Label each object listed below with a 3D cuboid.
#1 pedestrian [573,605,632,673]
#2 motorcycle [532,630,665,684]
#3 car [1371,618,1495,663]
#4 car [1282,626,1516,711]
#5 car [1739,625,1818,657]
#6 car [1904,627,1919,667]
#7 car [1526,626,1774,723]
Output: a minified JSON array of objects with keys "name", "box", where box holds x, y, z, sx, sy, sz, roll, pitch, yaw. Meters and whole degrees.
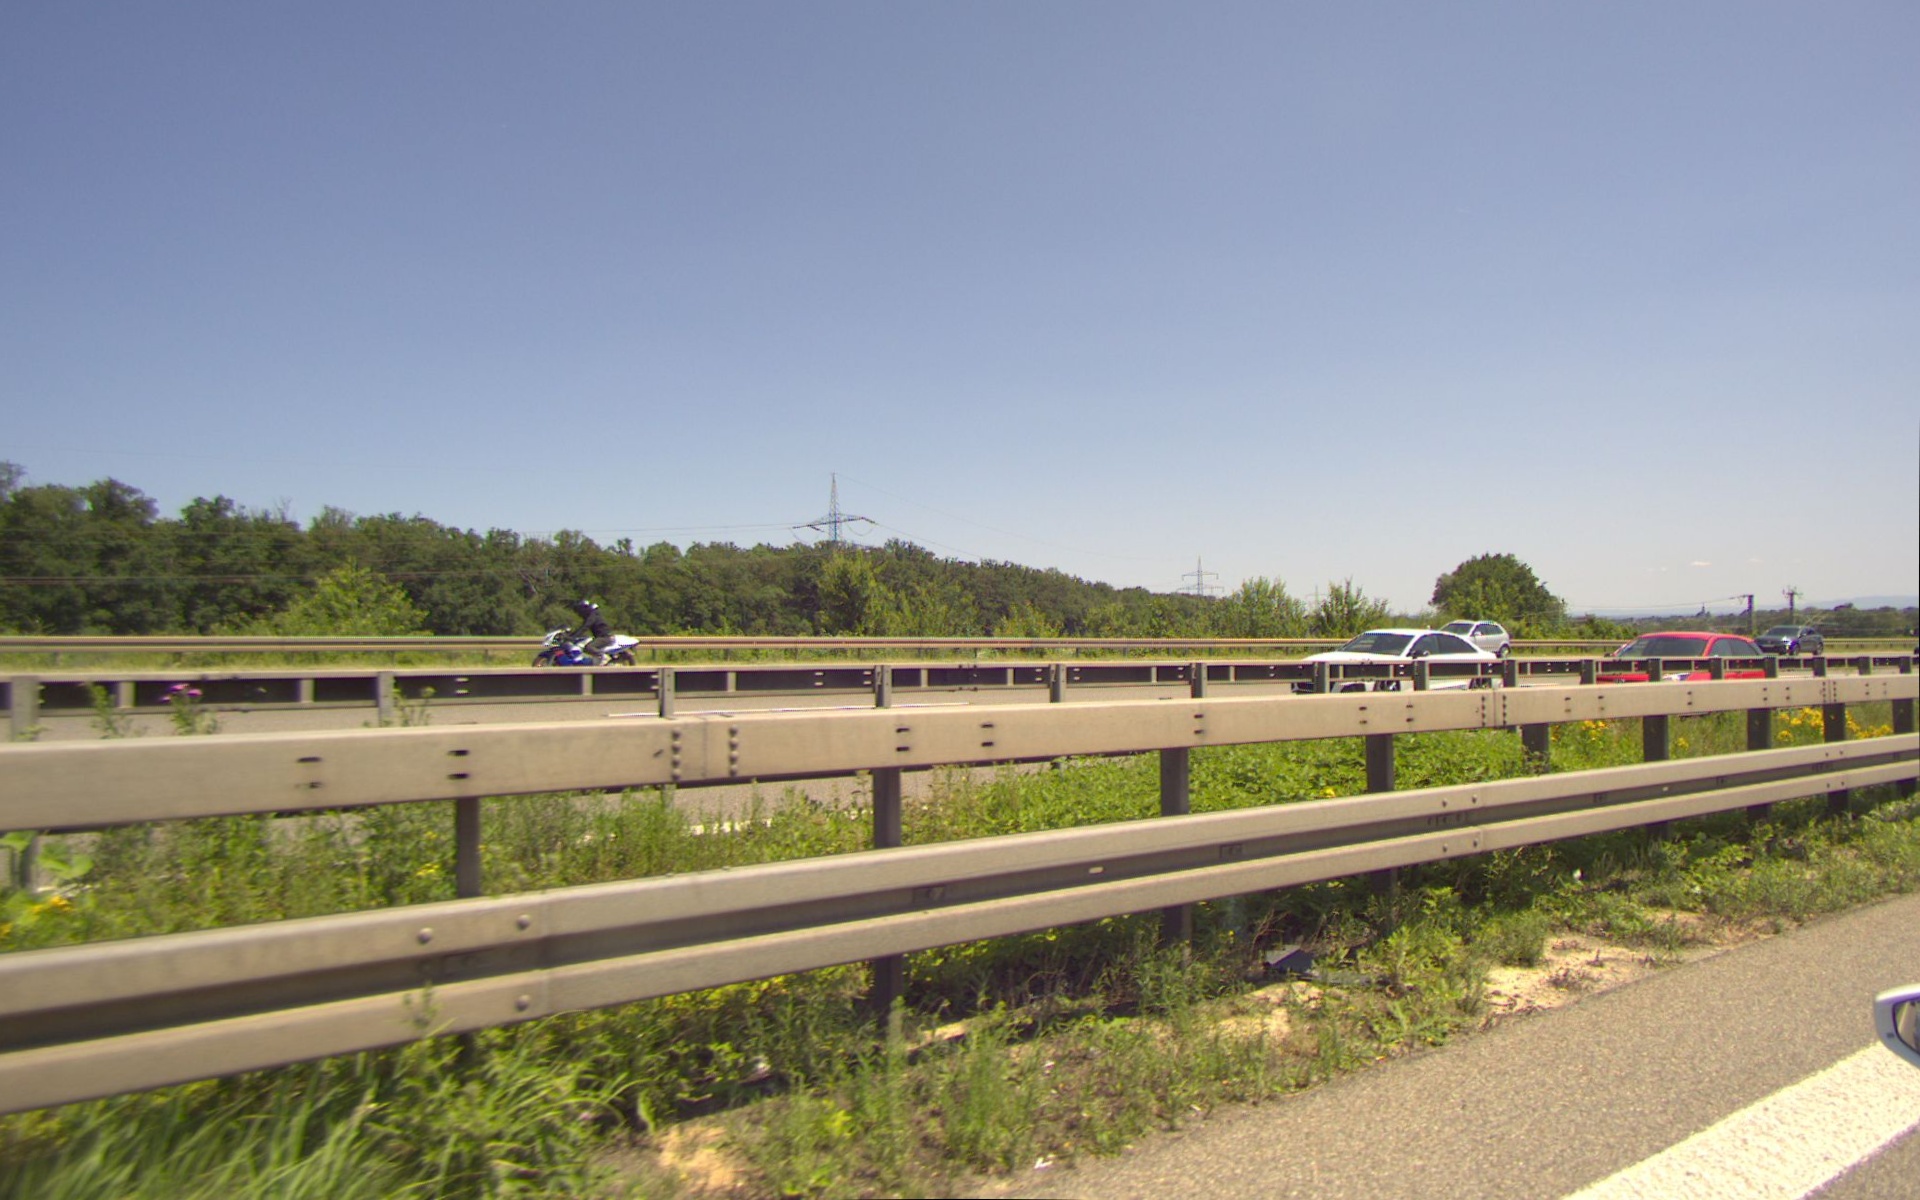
[{"name":"pedestrian","box":[-7.253,0.781,20.378,1.023,1.334,0.648,2,-1,-30]},{"name":"motorcycle","box":[-7.301,1.148,20.357,2.459,1.028,0.654,1,-1,-31]},{"name":"car","box":[17.649,1.512,37.441,4.319,1.552,2.095,1,-1,-30]},{"name":"car","box":[8.508,1.261,19.339,4.702,1.422,1.650,1,-1,-30]},{"name":"car","box":[42.524,2.140,52.172,4.173,1.552,1.839,1,-1,-30]},{"name":"car","box":[42.791,2.059,43.214,4.852,1.677,1.838,1,-1,-30]},{"name":"car","box":[11.948,1.211,17.310,4.719,1.443,1.650,1,-1,-30]}]
